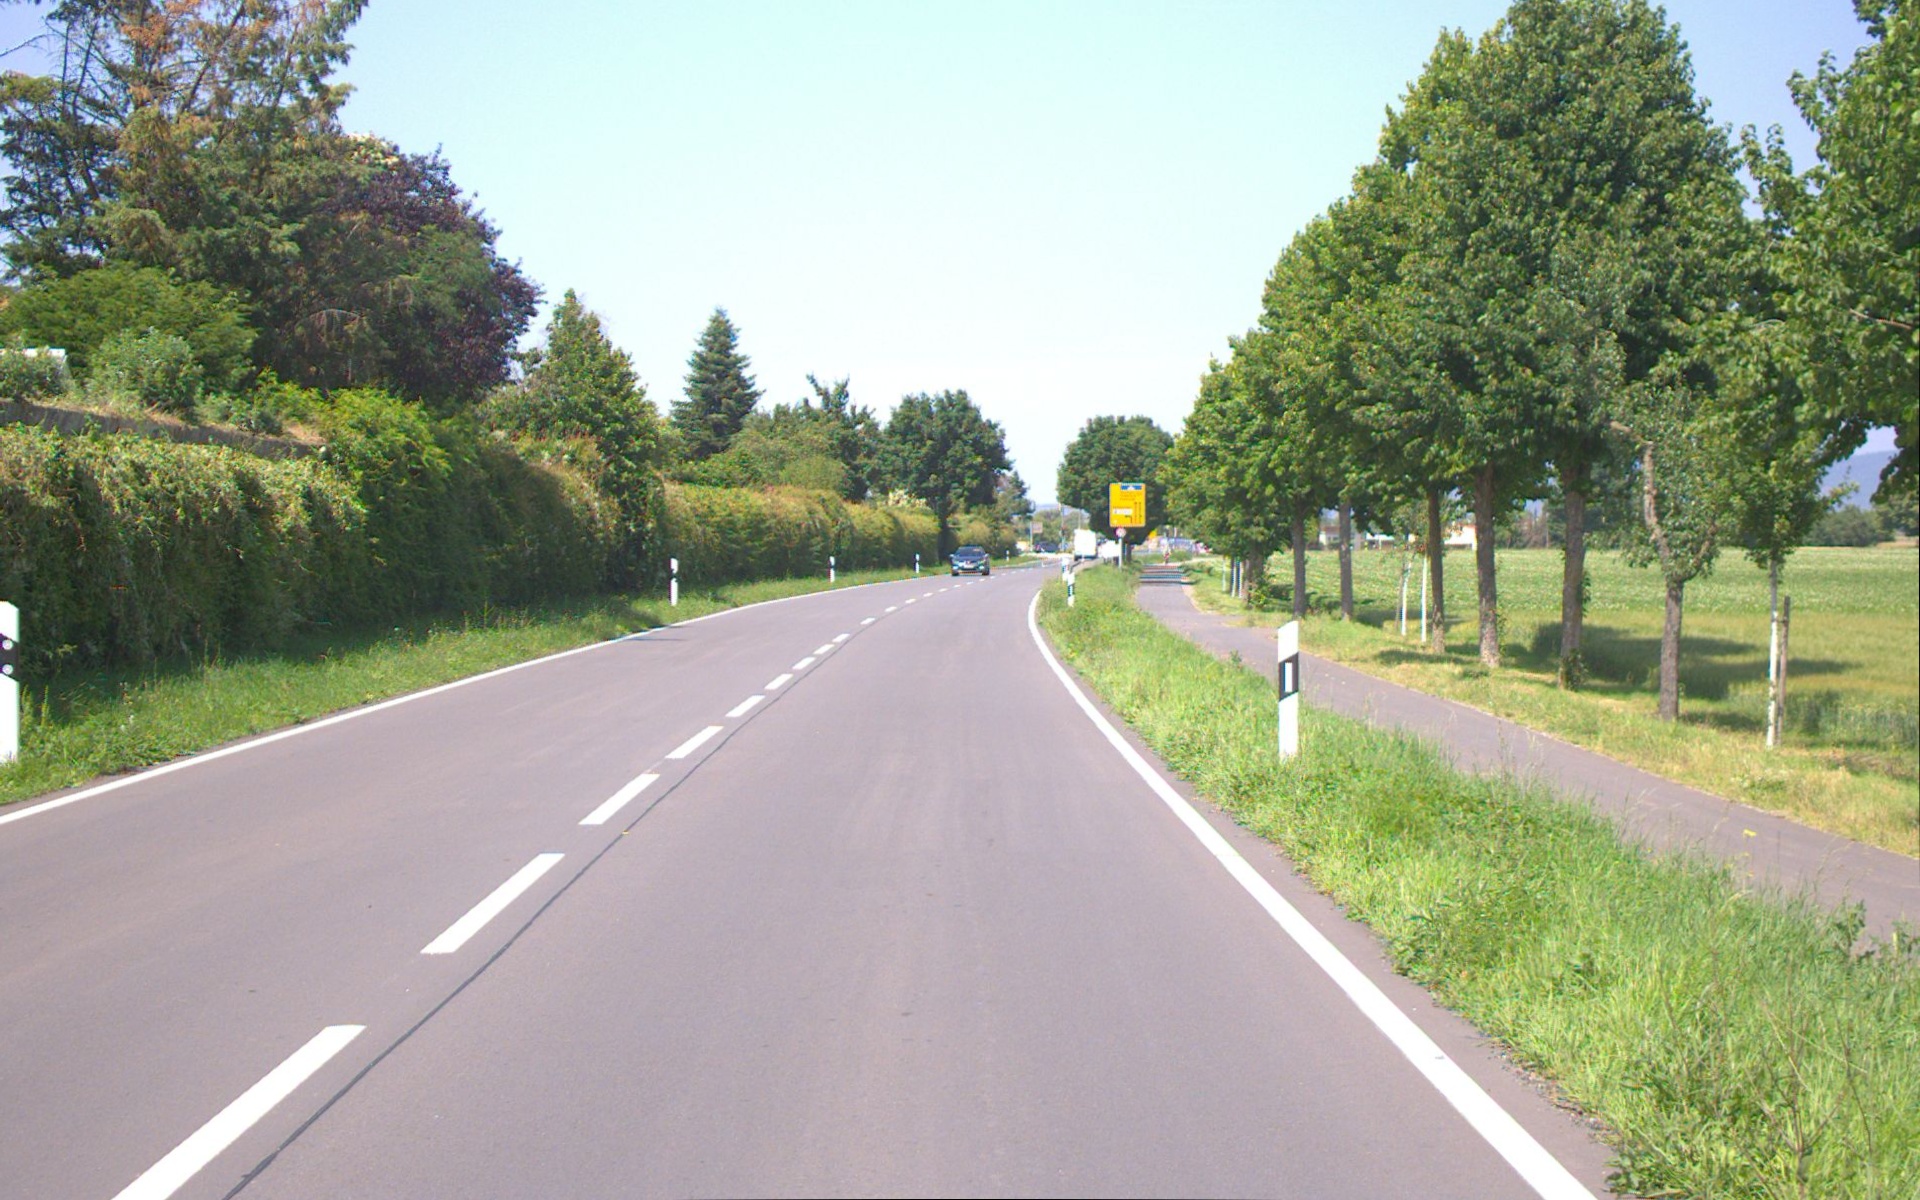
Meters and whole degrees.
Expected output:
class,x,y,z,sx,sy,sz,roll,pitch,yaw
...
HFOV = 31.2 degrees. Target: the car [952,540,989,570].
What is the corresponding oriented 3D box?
class,x,y,z,sx,sy,sz,roll,pitch,yaw
car,0.527,-2.273,173.853,1.840,1.462,3.933,0,1,0
